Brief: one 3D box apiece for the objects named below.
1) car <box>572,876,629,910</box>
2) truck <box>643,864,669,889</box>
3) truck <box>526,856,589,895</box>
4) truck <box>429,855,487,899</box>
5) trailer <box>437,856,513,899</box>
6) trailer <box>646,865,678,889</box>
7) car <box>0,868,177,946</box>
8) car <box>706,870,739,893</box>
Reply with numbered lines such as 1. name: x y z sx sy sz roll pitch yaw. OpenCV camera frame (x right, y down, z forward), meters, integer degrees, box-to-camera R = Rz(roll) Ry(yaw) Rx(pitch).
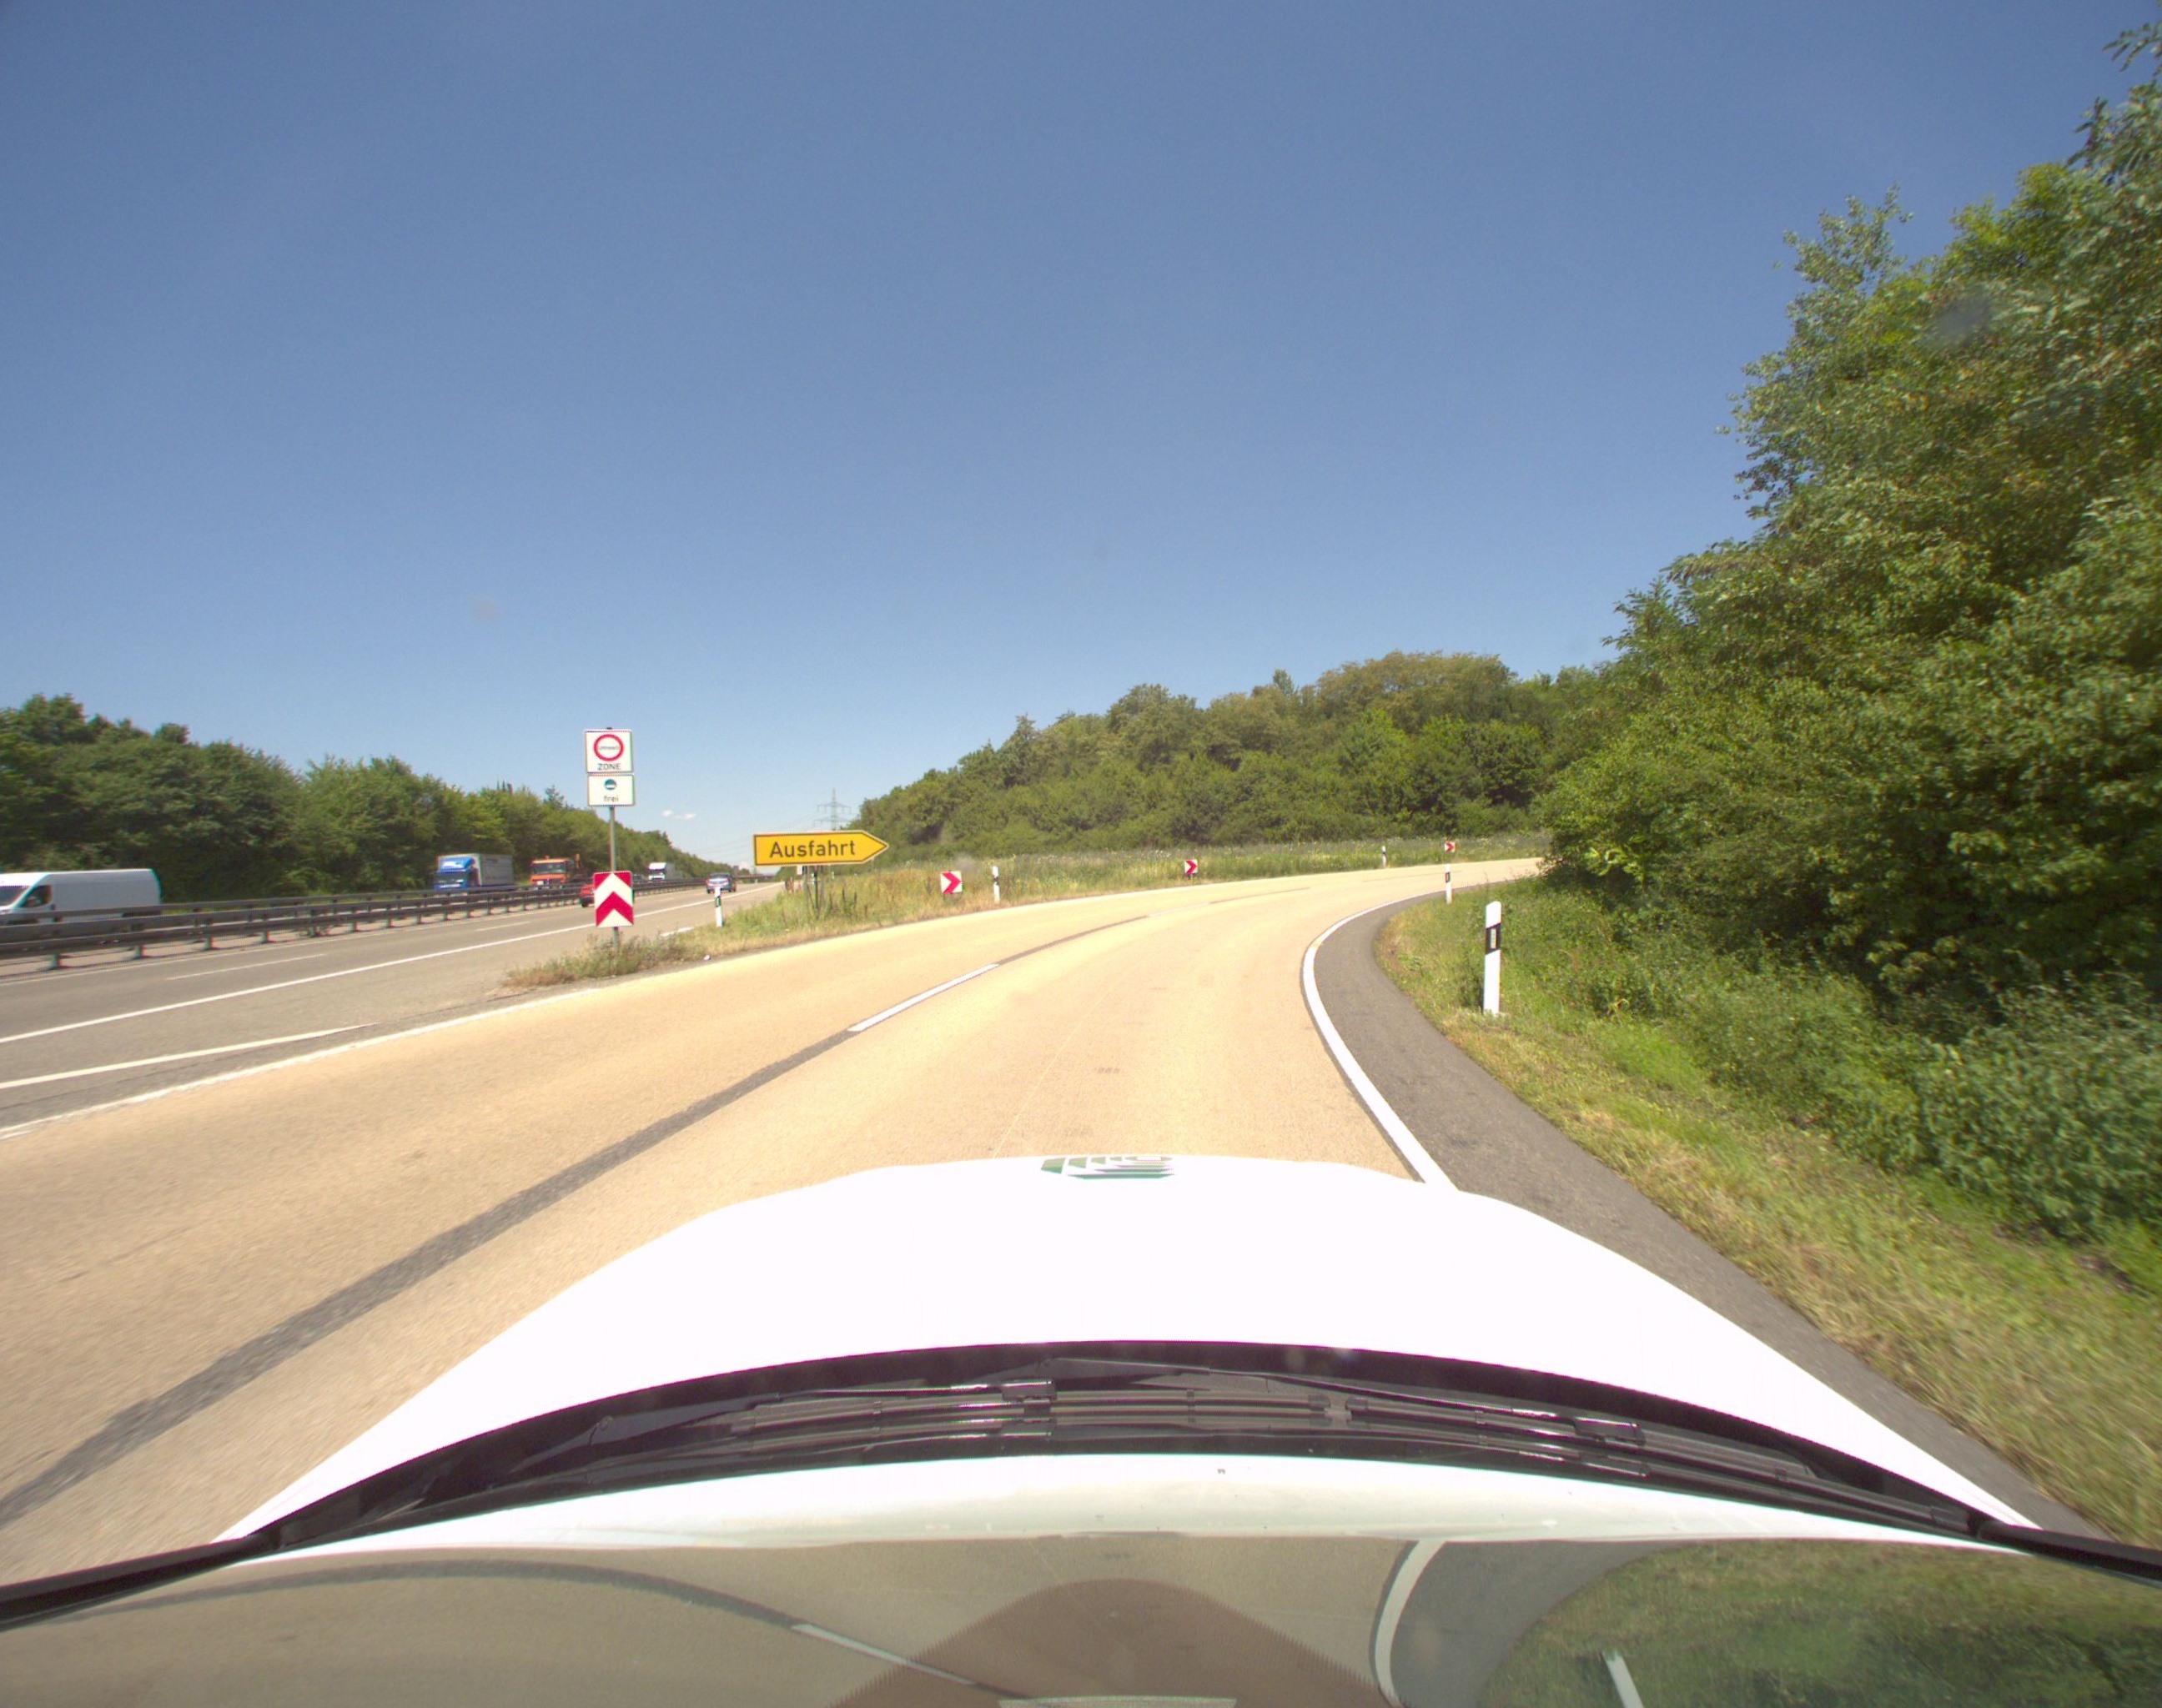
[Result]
1. car: -25.041 2.017 42.556 1.748 1.554 3.361 -3 0 -17
2. truck: -71.878 3.849 137.737 2.921 3.939 5.383 -3 0 -19
3. truck: -44.227 1.812 69.076 2.603 3.062 8.150 -2 -1 -19
4. truck: -45.524 1.671 59.560 2.314 3.009 3.059 -2 0 -17
5. trailer: -46.415 1.697 62.603 2.304 3.009 7.180 -2 0 -17
6. trailer: -74.169 4.018 144.555 2.920 3.939 13.190 -3 0 -19
7. car: -37.901 1.867 30.317 2.159 2.538 6.668 -1 0 -13
8. car: -26.565 2.022 60.506 1.748 1.577 3.361 -3 0 -17
